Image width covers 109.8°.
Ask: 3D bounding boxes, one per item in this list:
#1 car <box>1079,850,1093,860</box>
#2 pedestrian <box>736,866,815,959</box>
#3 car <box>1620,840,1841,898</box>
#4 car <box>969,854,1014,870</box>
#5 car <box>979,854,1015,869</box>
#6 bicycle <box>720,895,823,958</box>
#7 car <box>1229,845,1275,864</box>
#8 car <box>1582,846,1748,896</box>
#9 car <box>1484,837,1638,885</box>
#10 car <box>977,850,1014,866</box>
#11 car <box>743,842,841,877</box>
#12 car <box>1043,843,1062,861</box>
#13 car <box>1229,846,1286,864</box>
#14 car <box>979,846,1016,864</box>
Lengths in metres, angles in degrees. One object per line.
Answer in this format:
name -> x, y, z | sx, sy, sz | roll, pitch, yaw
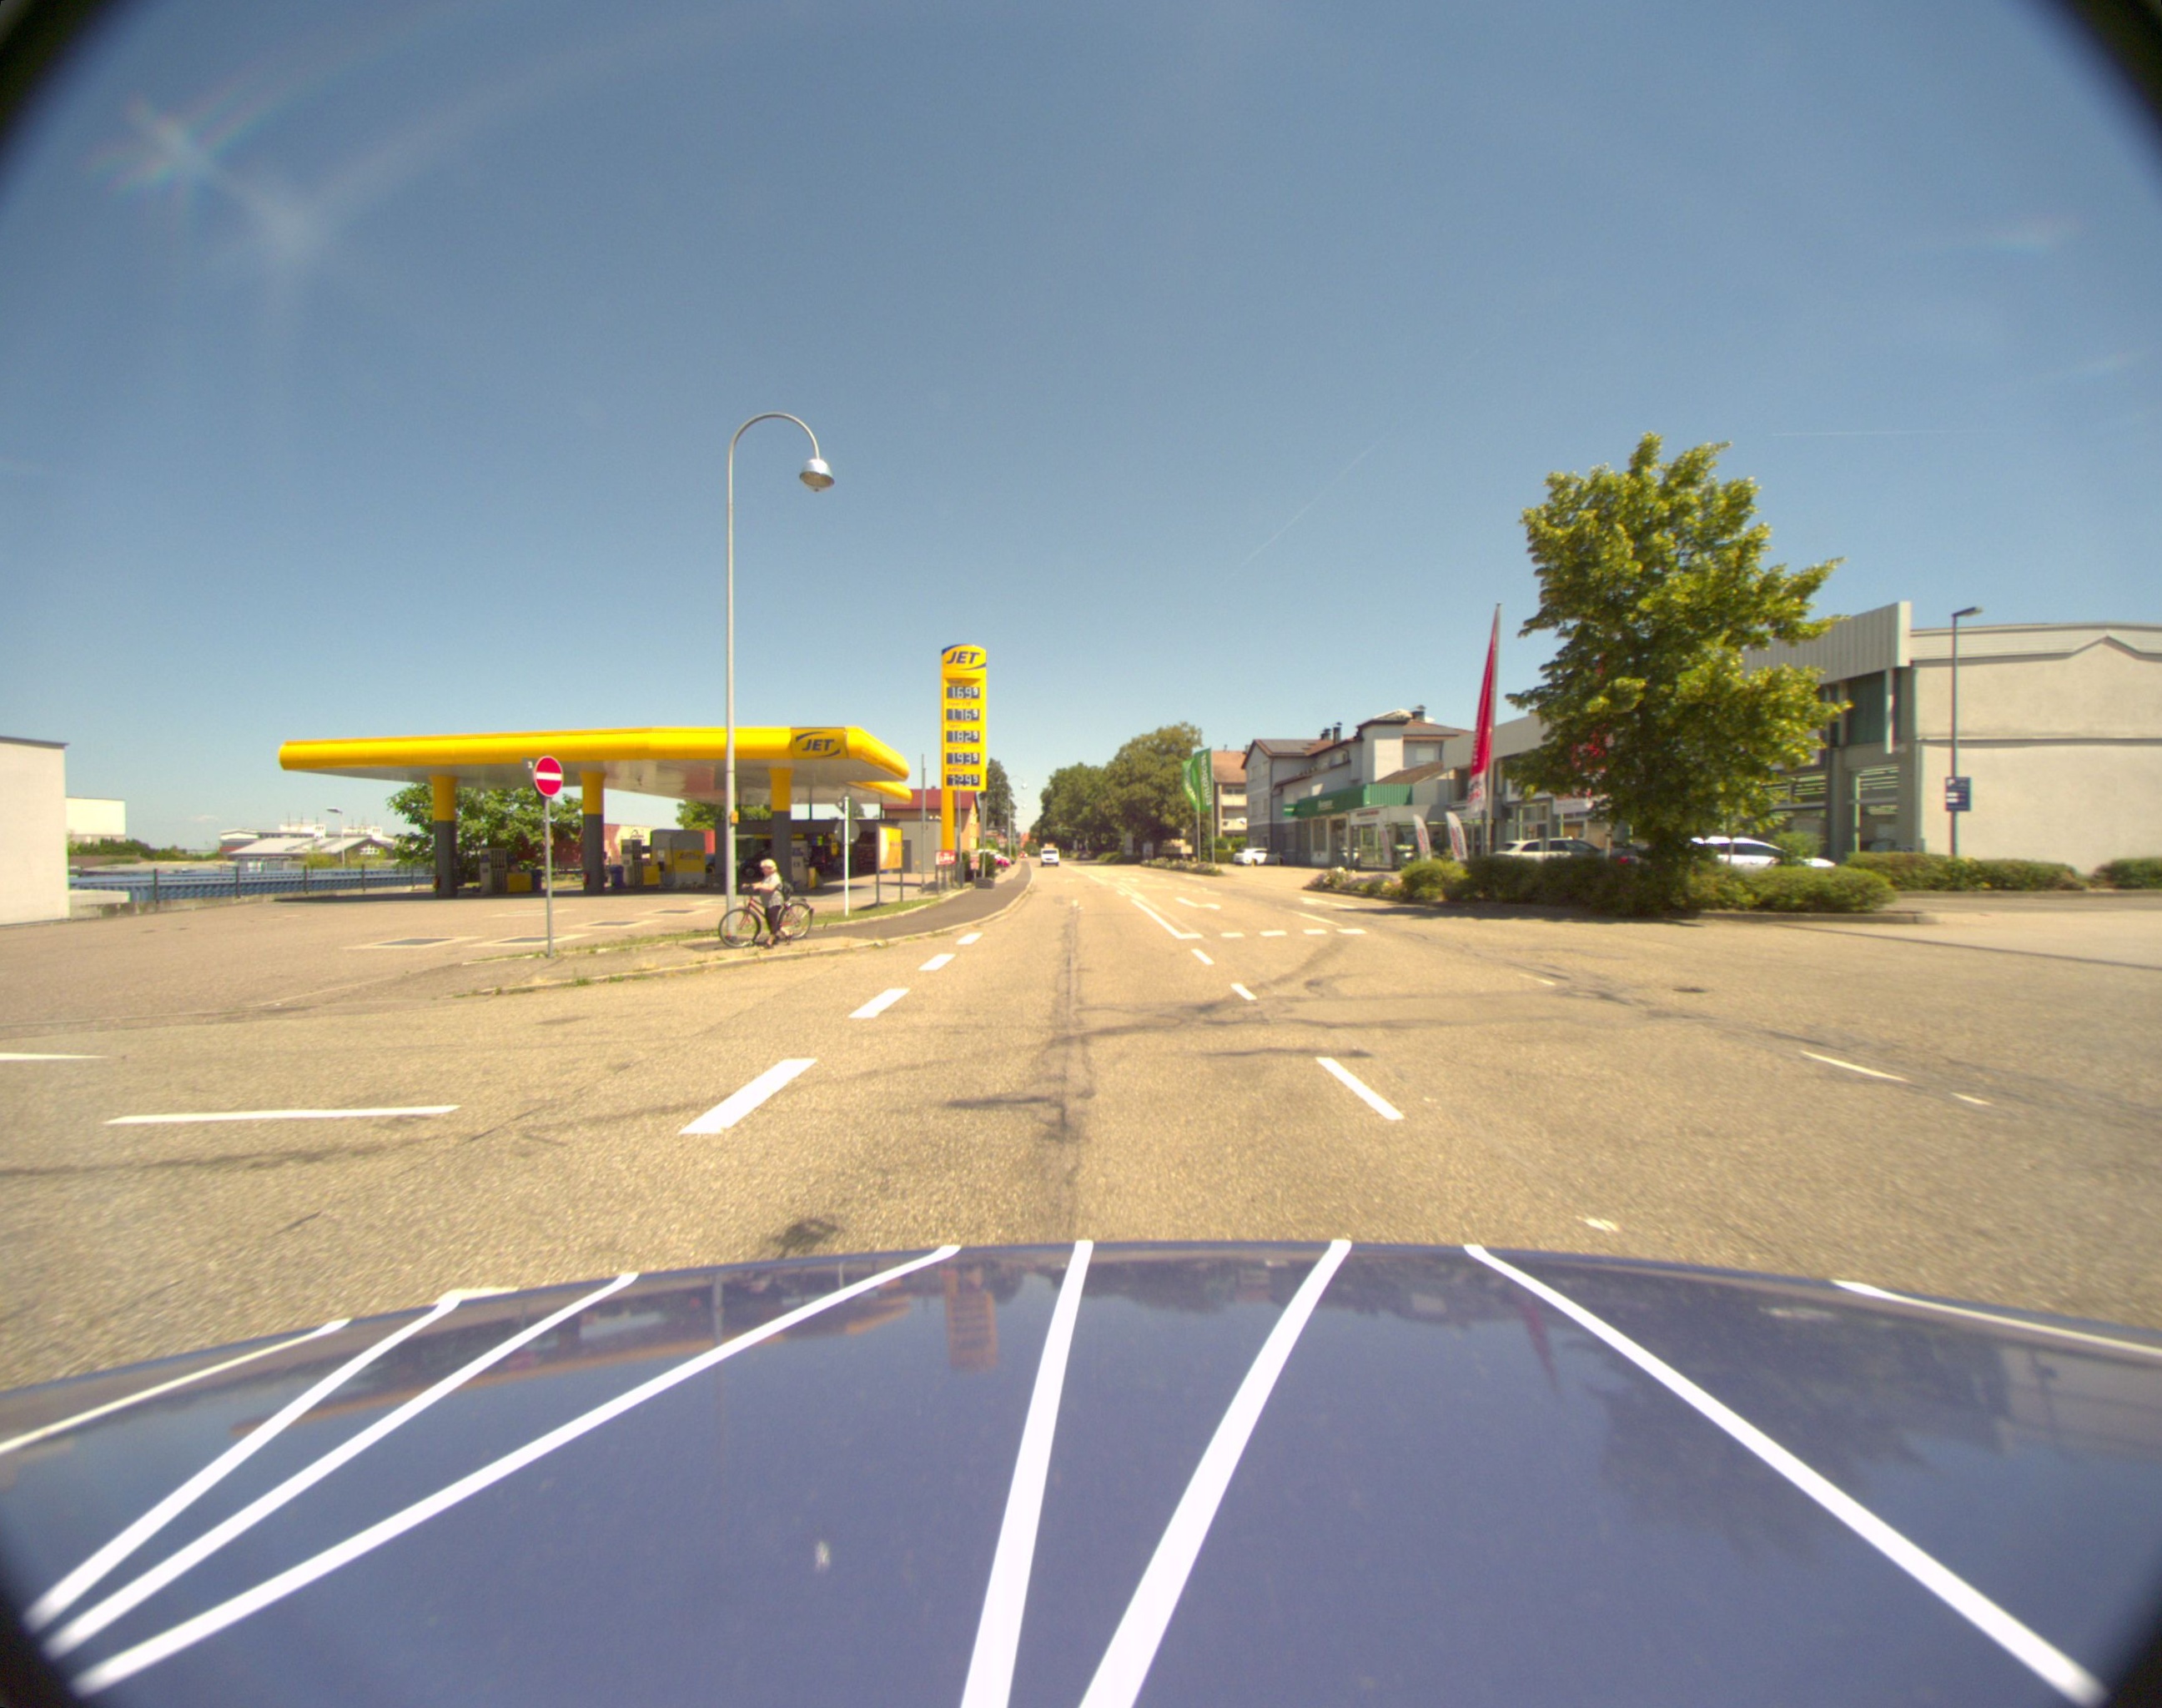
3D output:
car -> 0.771, 0.149, 116.805 | 1.767, 1.518, 4.136 | 0, 0, -4
pedestrian -> -4.968, 0.919, 12.366 | 0.769, 1.413, 0.869 | -1, 1, 37
car -> 17.778, 0.409, 21.044 | 4.190, 1.438, 1.981 | -1, 0, 13
car -> -8.634, 0.809, 73.463 | 4.237, 1.525, 1.957 | 0, 0, -5
car -> -8.875, 0.796, 80.504 | 3.695, 1.557, 1.641 | 0, 0, -6
bicycle -> -5.163, 1.186, 12.749 | 0.378, 0.907, 1.601 | -1, 1, 37
car -> 14.997, 0.062, 66.702 | 3.570, 1.556, 1.969 | -1, 1, -4
car -> 18.198, 0.524, 23.865 | 3.631, 1.466, 2.002 | -1, 0, 15
car -> 18.052, 0.275, 28.849 | 4.536, 1.654, 2.002 | -1, 0, 15
car -> -8.557, 0.423, 75.940 | 3.696, 1.557, 1.707 | 0, 0, -7
car -> -17.368, 0.337, 45.818 | 5.063, 1.964, 1.999 | -1, 0, -2
car -> -3.110, -0.201, 83.245 | 1.797, 1.904, 3.638 | -1, 1, -5
car -> 14.600, 0.081, 62.795 | 4.360, 1.430, 1.936 | -1, 1, -26
car -> -9.547, 0.085, 86.908 | 4.148, 1.927, 1.806 | -1, 0, -9
